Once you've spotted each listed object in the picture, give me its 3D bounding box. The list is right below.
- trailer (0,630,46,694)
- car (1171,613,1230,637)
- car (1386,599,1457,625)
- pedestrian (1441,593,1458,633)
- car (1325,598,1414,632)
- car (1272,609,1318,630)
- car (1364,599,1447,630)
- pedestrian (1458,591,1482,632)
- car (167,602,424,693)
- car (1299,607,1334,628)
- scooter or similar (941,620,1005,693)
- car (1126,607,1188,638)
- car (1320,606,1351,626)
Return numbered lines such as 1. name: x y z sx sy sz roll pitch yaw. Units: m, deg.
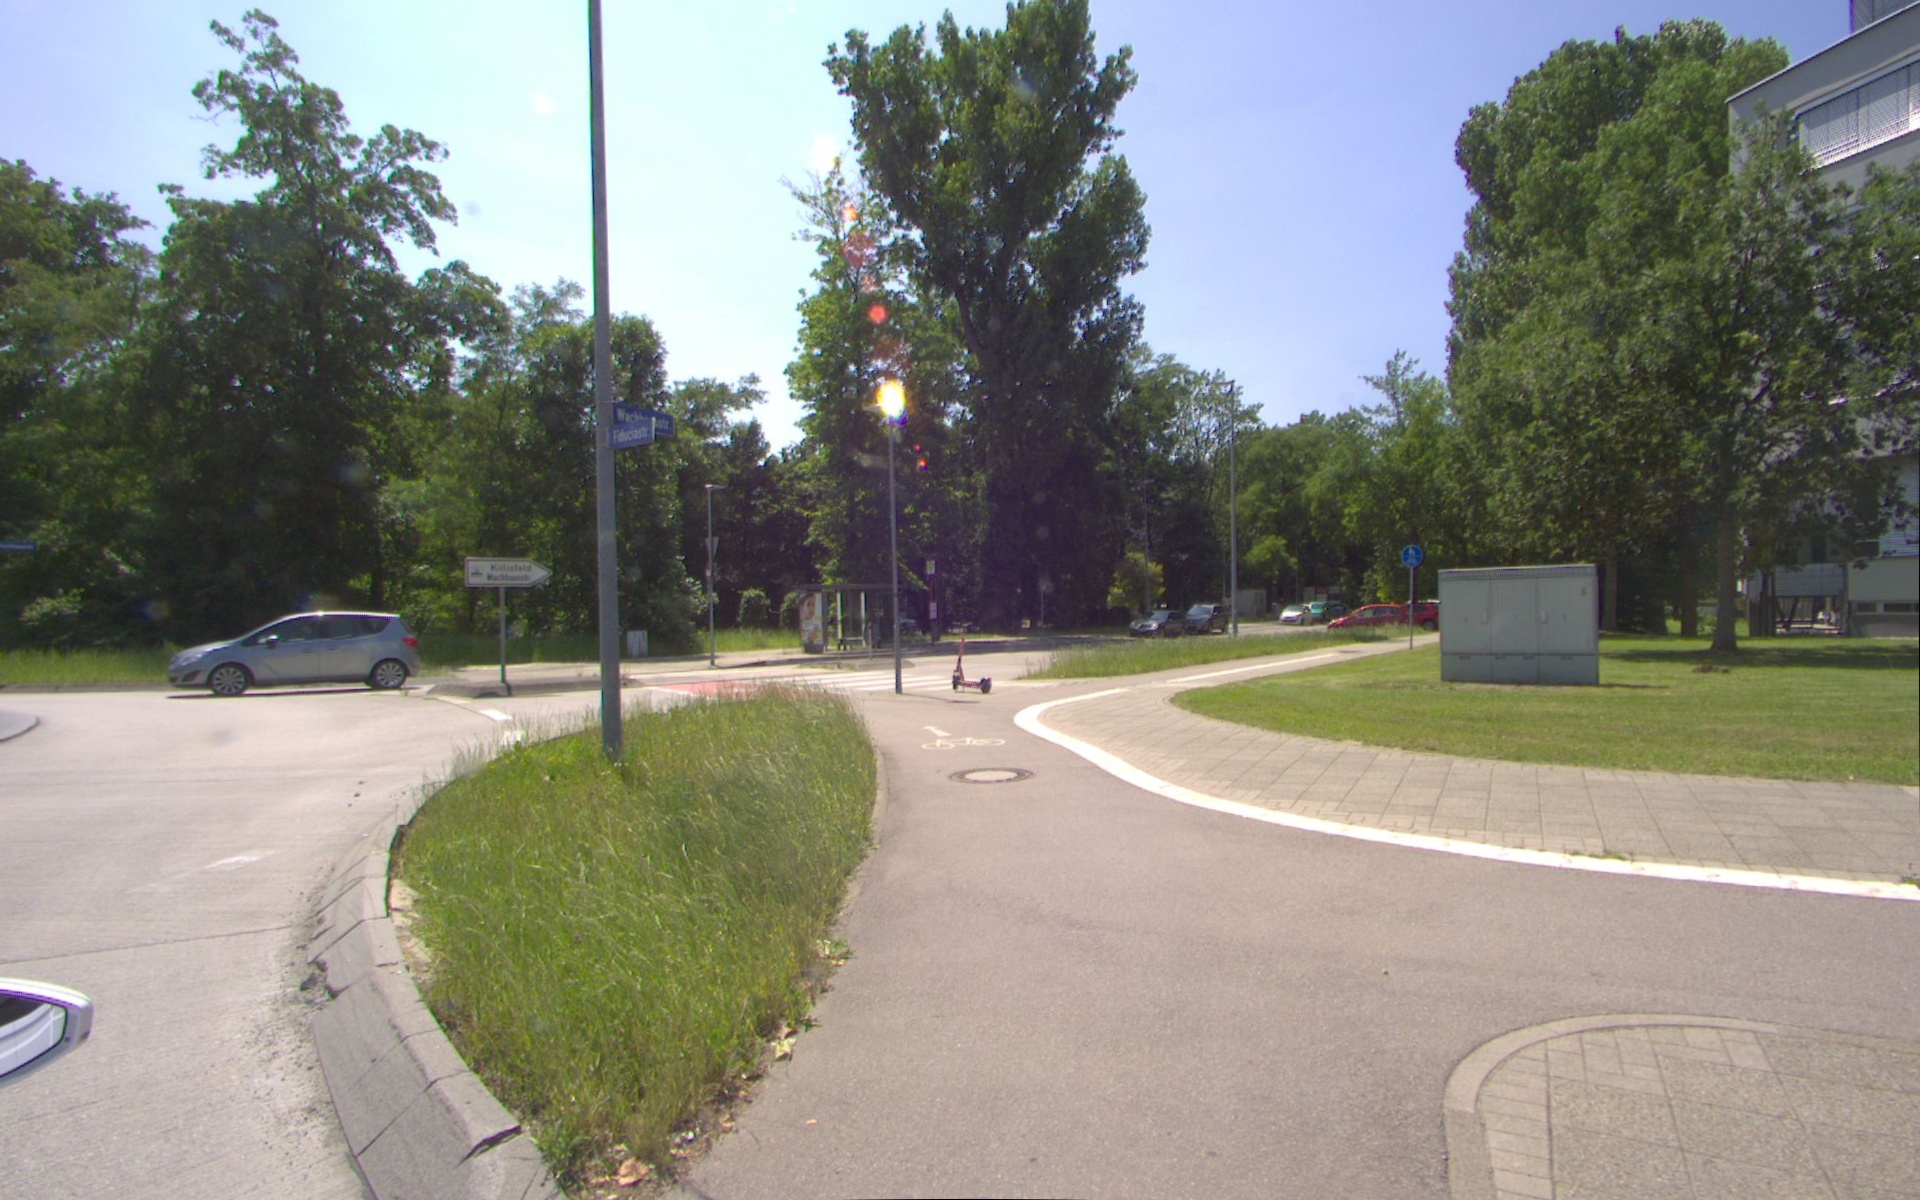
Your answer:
1. trailer: -18.205 1.090 17.269 3.292 1.111 2.127 -1 -1 13
2. car: 13.772 1.431 57.155 1.973 1.327 3.976 -2 -2 35
3. car: 27.329 0.735 59.349 3.632 1.502 1.860 -2 -1 32
4. pedestrian: 19.992 0.539 40.872 0.579 1.637 0.484 -1 -1 30
5. car: 19.230 0.706 47.082 3.632 1.502 1.860 -2 -1 32
6. car: 24.393 1.419 72.878 1.975 1.488 3.973 -2 -2 37
7. car: 22.543 0.760 50.668 3.632 1.502 1.860 -2 -1 32
8. pedestrian: 20.764 0.471 40.763 0.564 1.629 0.641 0 -1 -28
9. car: -13.209 0.899 20.030 4.084 1.627 1.775 1 -2 -42
10. car: 27.151 1.343 76.257 1.713 1.563 3.425 -1 -1 34
11. scooter or similar: 0.210 0.975 17.539 0.442 1.217 1.391 0 -1 -31
12. car: 10.320 1.168 52.348 1.680 1.506 3.975 2 0 35
13. car: 30.434 1.304 81.183 1.711 1.513 3.427 -1 0 32
